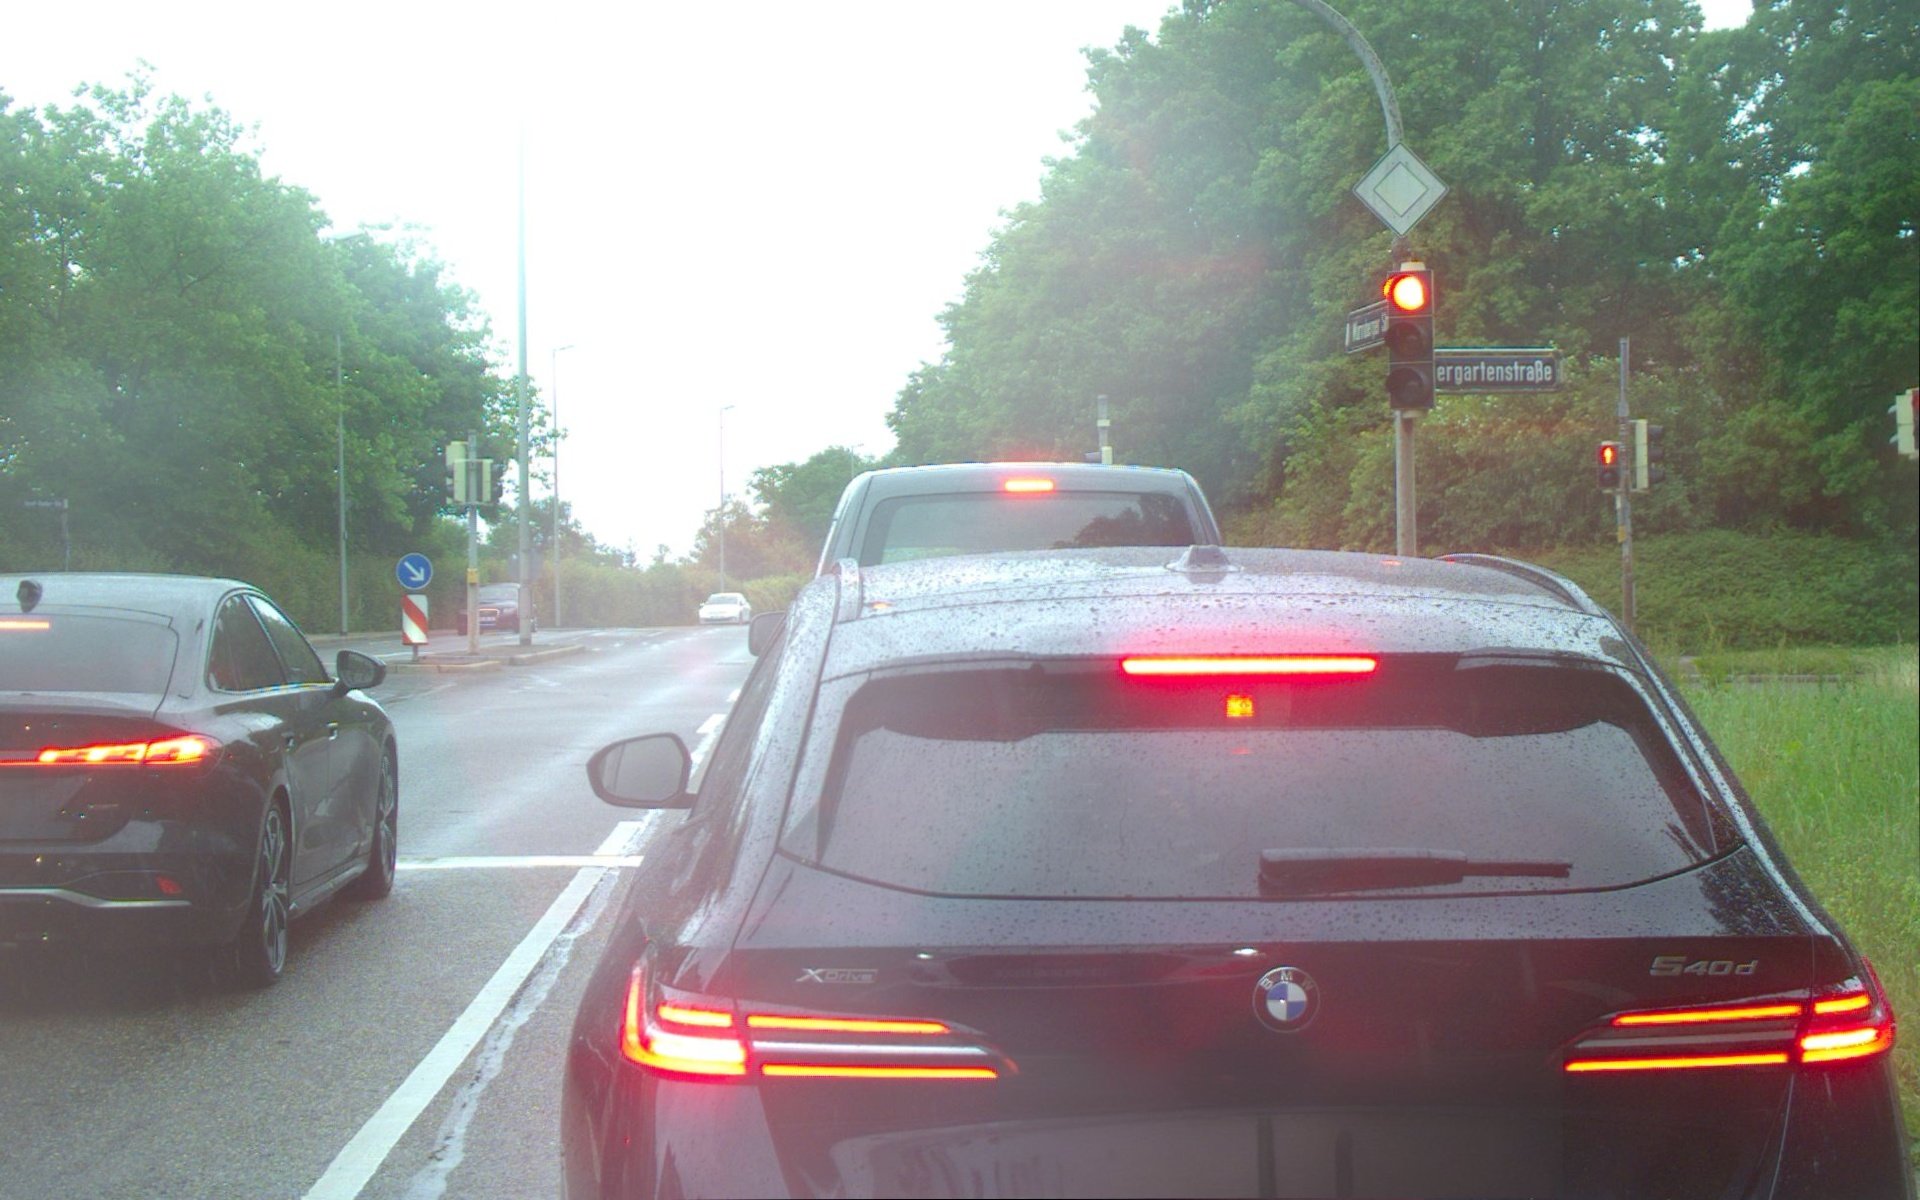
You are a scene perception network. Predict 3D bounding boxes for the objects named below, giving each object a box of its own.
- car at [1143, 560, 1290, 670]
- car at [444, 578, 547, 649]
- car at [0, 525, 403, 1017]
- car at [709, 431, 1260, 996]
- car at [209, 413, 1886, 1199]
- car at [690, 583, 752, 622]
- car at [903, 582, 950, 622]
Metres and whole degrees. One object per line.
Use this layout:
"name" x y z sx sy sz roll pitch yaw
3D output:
"car" 3.871 0.205 52.421 1.873 1.537 3.952 -2 0 0
"car" -12.681 0.359 94.058 1.994 1.820 4.000 -2 0 3
"car" -3.395 0.553 12.998 1.993 1.522 4.328 -2 0 -3
"car" 0.077 0.362 13.353 1.818 1.862 3.952 0 0 0
"car" 0.204 0.570 6.204 1.898 1.546 4.614 0 0 3
"car" -10.355 0.095 149.197 1.994 1.605 3.671 -2 0 6
"car" -1.260 0.069 129.533 1.697 1.422 3.514 -2 0 0
